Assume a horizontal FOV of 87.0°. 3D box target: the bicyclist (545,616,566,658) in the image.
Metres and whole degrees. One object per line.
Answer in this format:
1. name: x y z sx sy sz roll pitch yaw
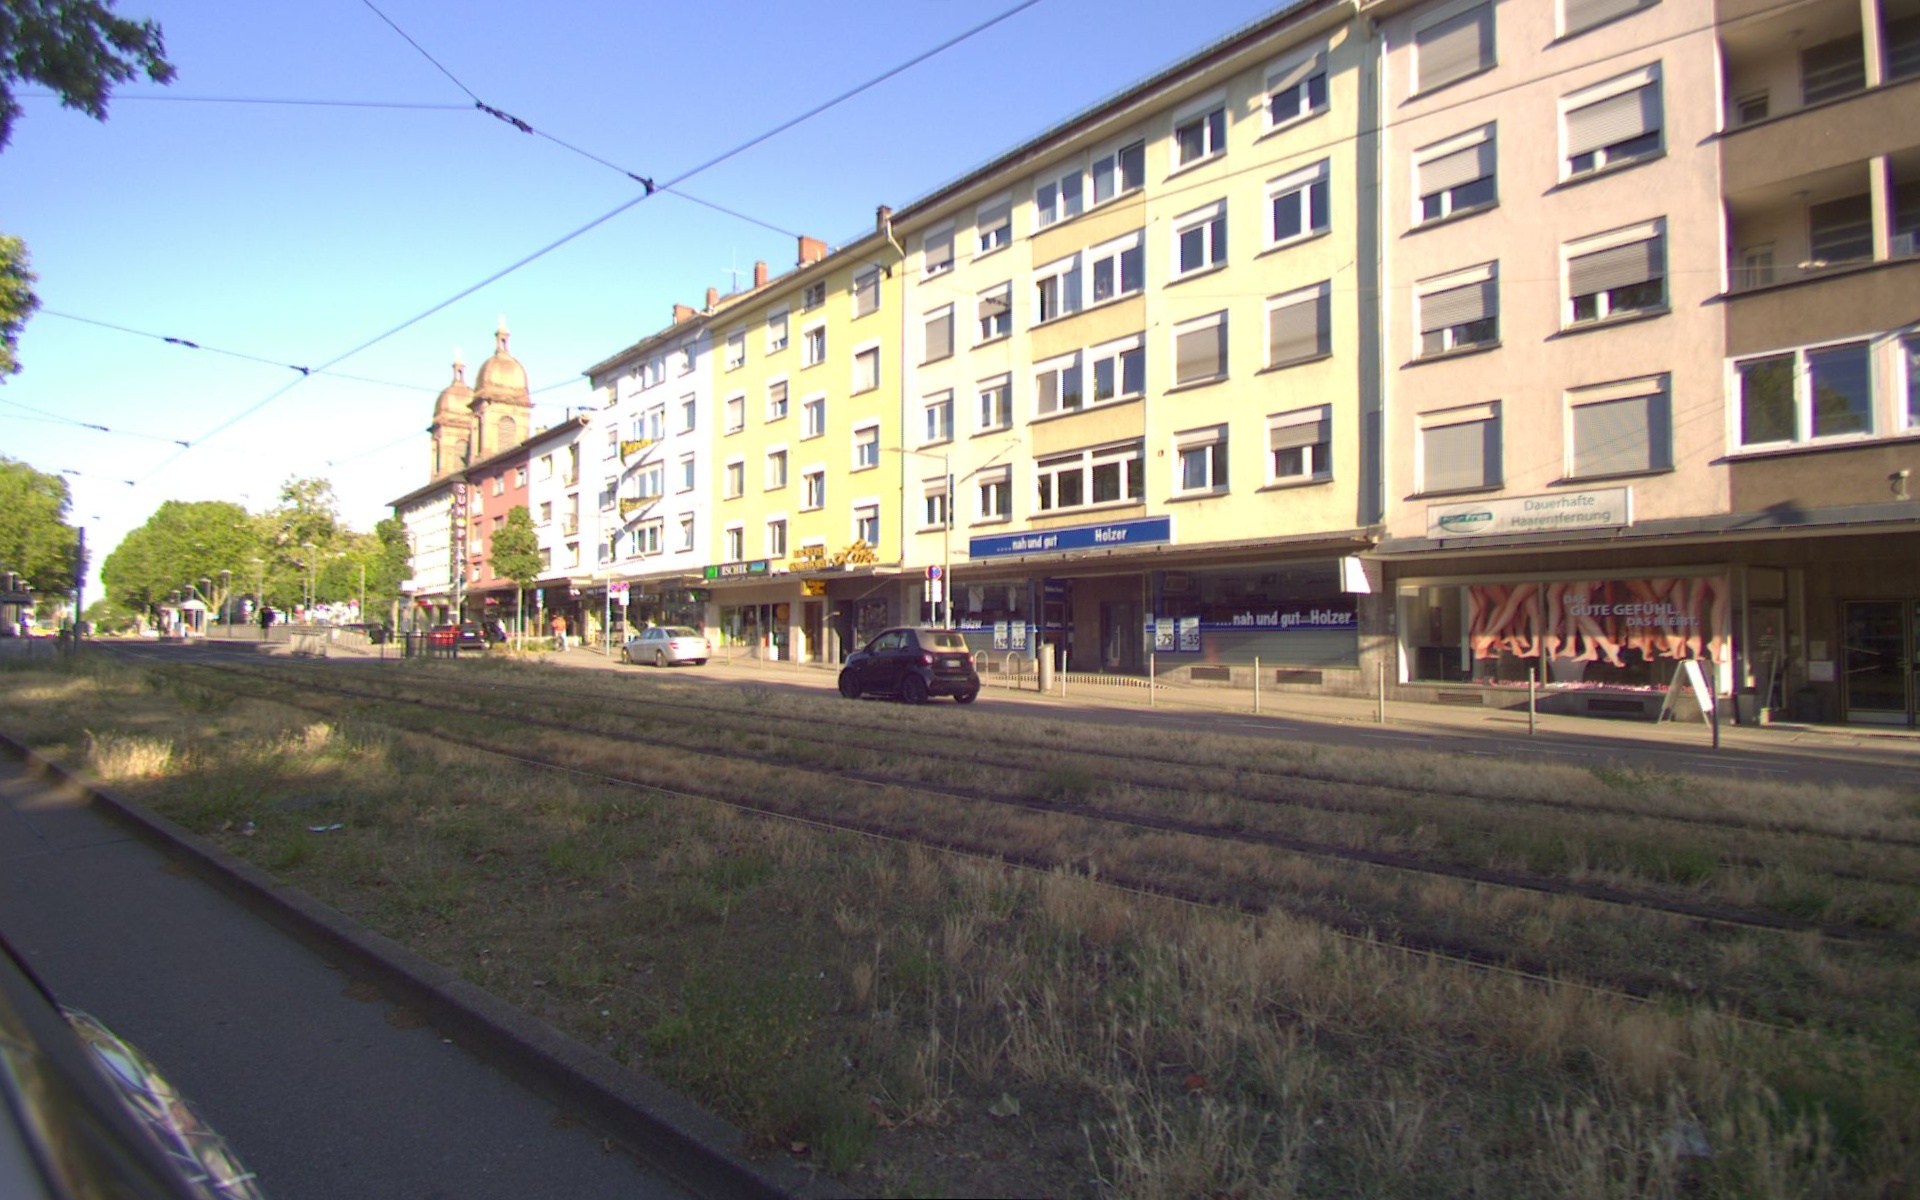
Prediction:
1. bicyclist: -19.314 1.740 48.346 0.683 1.900 1.061 -3 3 -33

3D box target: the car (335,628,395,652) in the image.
1. car: -42.209 2.797 71.884 1.845 1.541 3.996 -1 0 3

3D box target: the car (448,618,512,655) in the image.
1. car: -25.923 1.917 54.813 1.836 1.813 3.773 -1 0 -4

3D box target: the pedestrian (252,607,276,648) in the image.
1. pedestrian: -31.543 1.243 45.877 0.590 1.863 0.733 -2 -3 42

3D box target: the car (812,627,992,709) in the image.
1. car: -1.228 1.351 20.694 3.475 1.520 1.704 -1 -5 42

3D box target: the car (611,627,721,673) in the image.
1. car: -10.751 1.773 36.809 1.971 1.489 4.413 0 -1 -45

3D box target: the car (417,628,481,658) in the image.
1. car: -28.410 2.363 56.375 1.836 1.502 3.773 -1 0 -4

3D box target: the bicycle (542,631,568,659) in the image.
1. bicycle: -19.451 2.134 48.579 0.696 1.167 2.204 -3 3 -33
